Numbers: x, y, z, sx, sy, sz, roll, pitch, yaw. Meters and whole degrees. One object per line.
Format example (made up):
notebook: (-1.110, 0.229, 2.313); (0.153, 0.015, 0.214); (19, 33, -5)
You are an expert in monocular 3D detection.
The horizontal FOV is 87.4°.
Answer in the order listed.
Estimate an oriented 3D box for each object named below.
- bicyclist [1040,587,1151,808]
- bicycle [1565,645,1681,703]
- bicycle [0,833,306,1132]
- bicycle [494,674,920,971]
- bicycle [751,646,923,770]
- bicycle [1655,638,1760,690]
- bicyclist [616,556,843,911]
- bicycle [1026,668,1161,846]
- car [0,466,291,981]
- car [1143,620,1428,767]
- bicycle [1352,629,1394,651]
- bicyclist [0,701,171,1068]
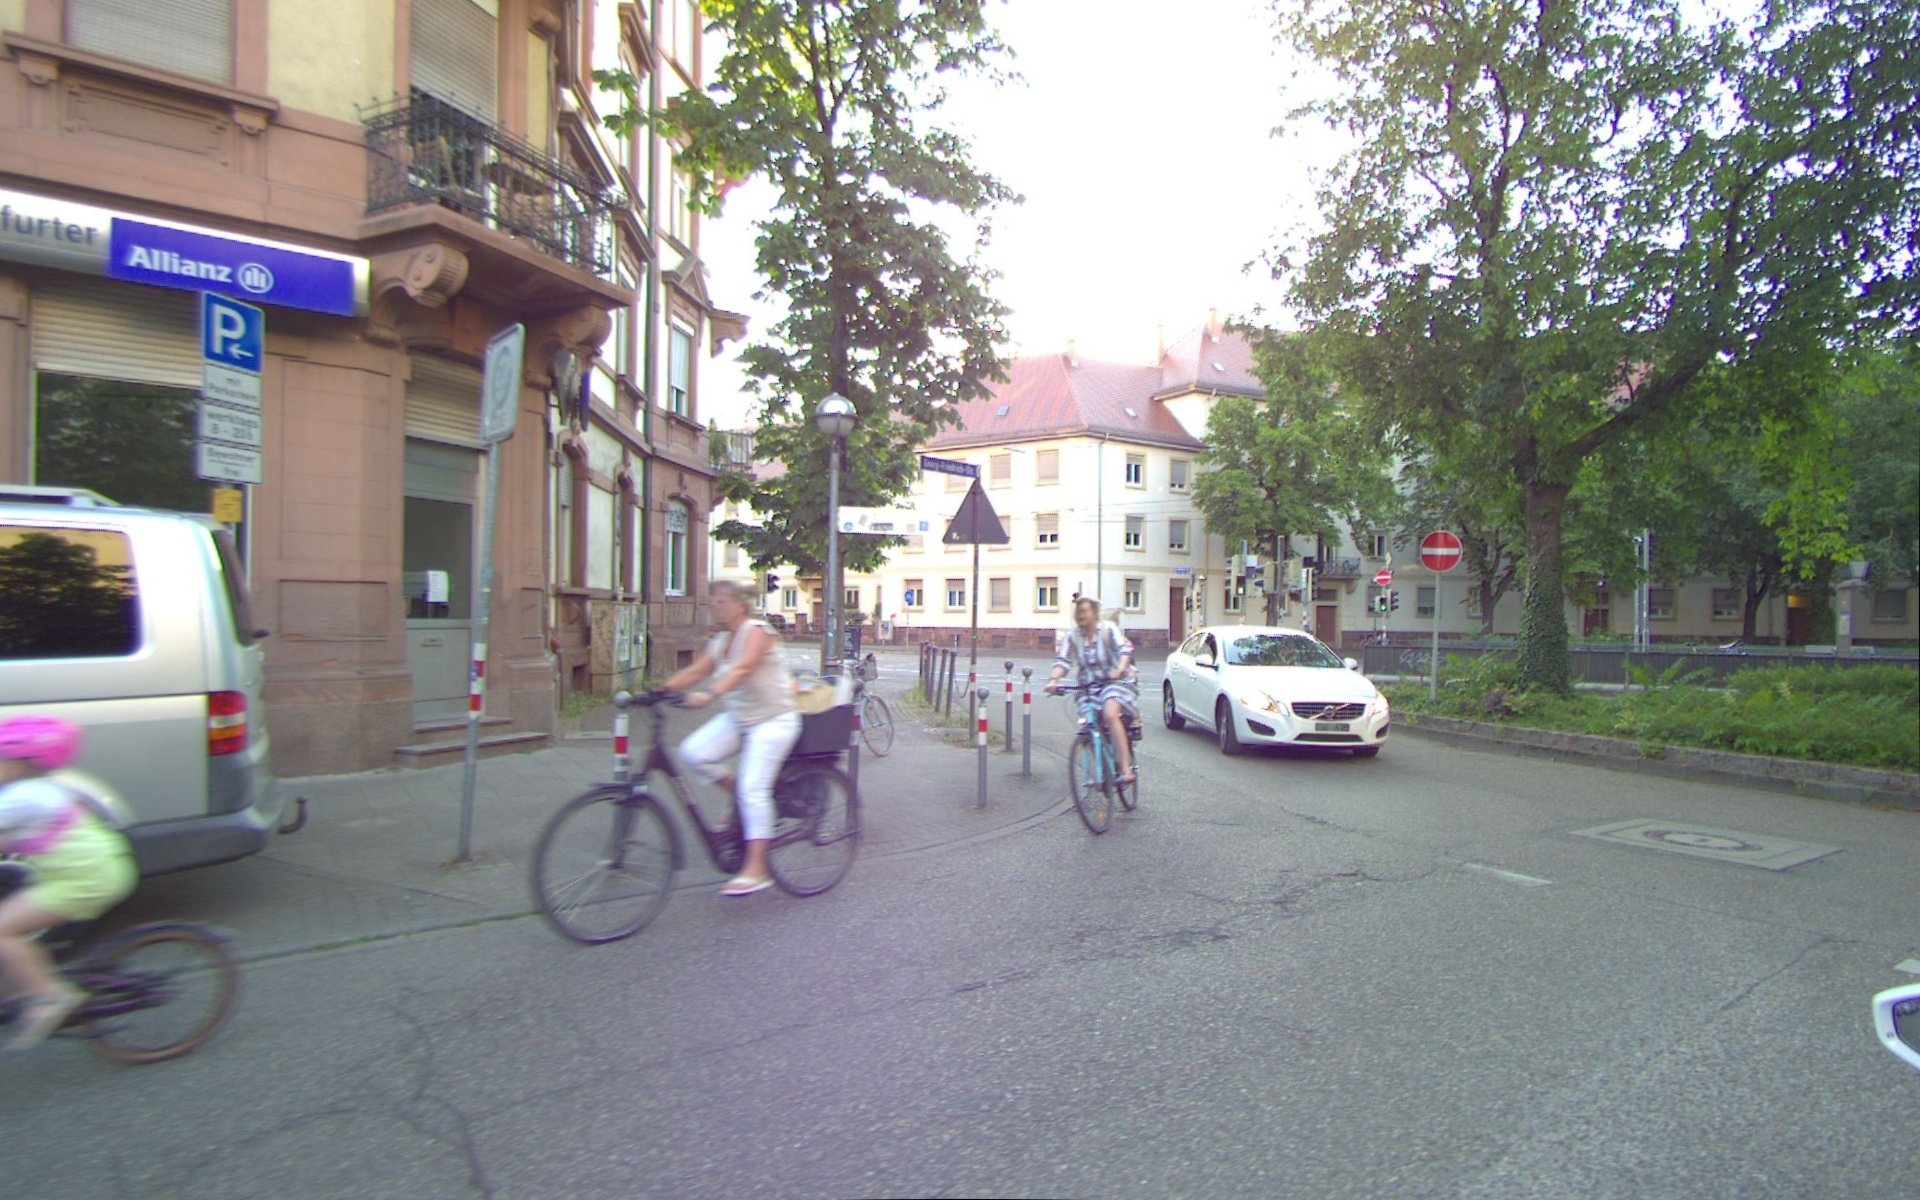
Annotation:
bicyclist: (1.052, 0.701, 7.657); (0.665, 1.565, 0.875); (0, -1, 19)
bicycle: (14.408, 1.586, 21.898); (2.078, 1.167, 0.685); (0, -1, 32)
bicycle: (-2.935, 1.201, 3.140); (1.450, 0.651, 0.645); (1, -1, -38)
bicycle: (-1.174, 0.980, 5.094); (0.719, 1.109, 2.036); (0, -1, 43)
bicycle: (-1.200, 1.040, 10.140); (0.552, 1.097, 1.788); (2, 0, 42)
bicycle: (16.388, 1.388, 22.070); (1.824, 1.065, 0.545); (0, -1, 34)
bicyclist: (-1.163, 0.612, 5.111); (0.716, 1.604, 0.870); (0, -1, 43)
bicycle: (1.079, 1.122, 7.740); (0.672, 1.109, 1.809); (0, -1, 19)
car: (-5.680, 0.457, 4.031); (4.954, 2.084, 2.027); (1, 1, -35)
car: (3.900, 1.042, 13.059); (1.961, 1.537, 4.840); (1, -1, -2)
bicycle: (21.657, 2.096, 52.689); (1.882, 1.167, 0.686); (1, -1, -1)
bicyclist: (-2.943, 0.848, 3.137); (0.723, 0.990, 0.641); (1, -1, -37)
